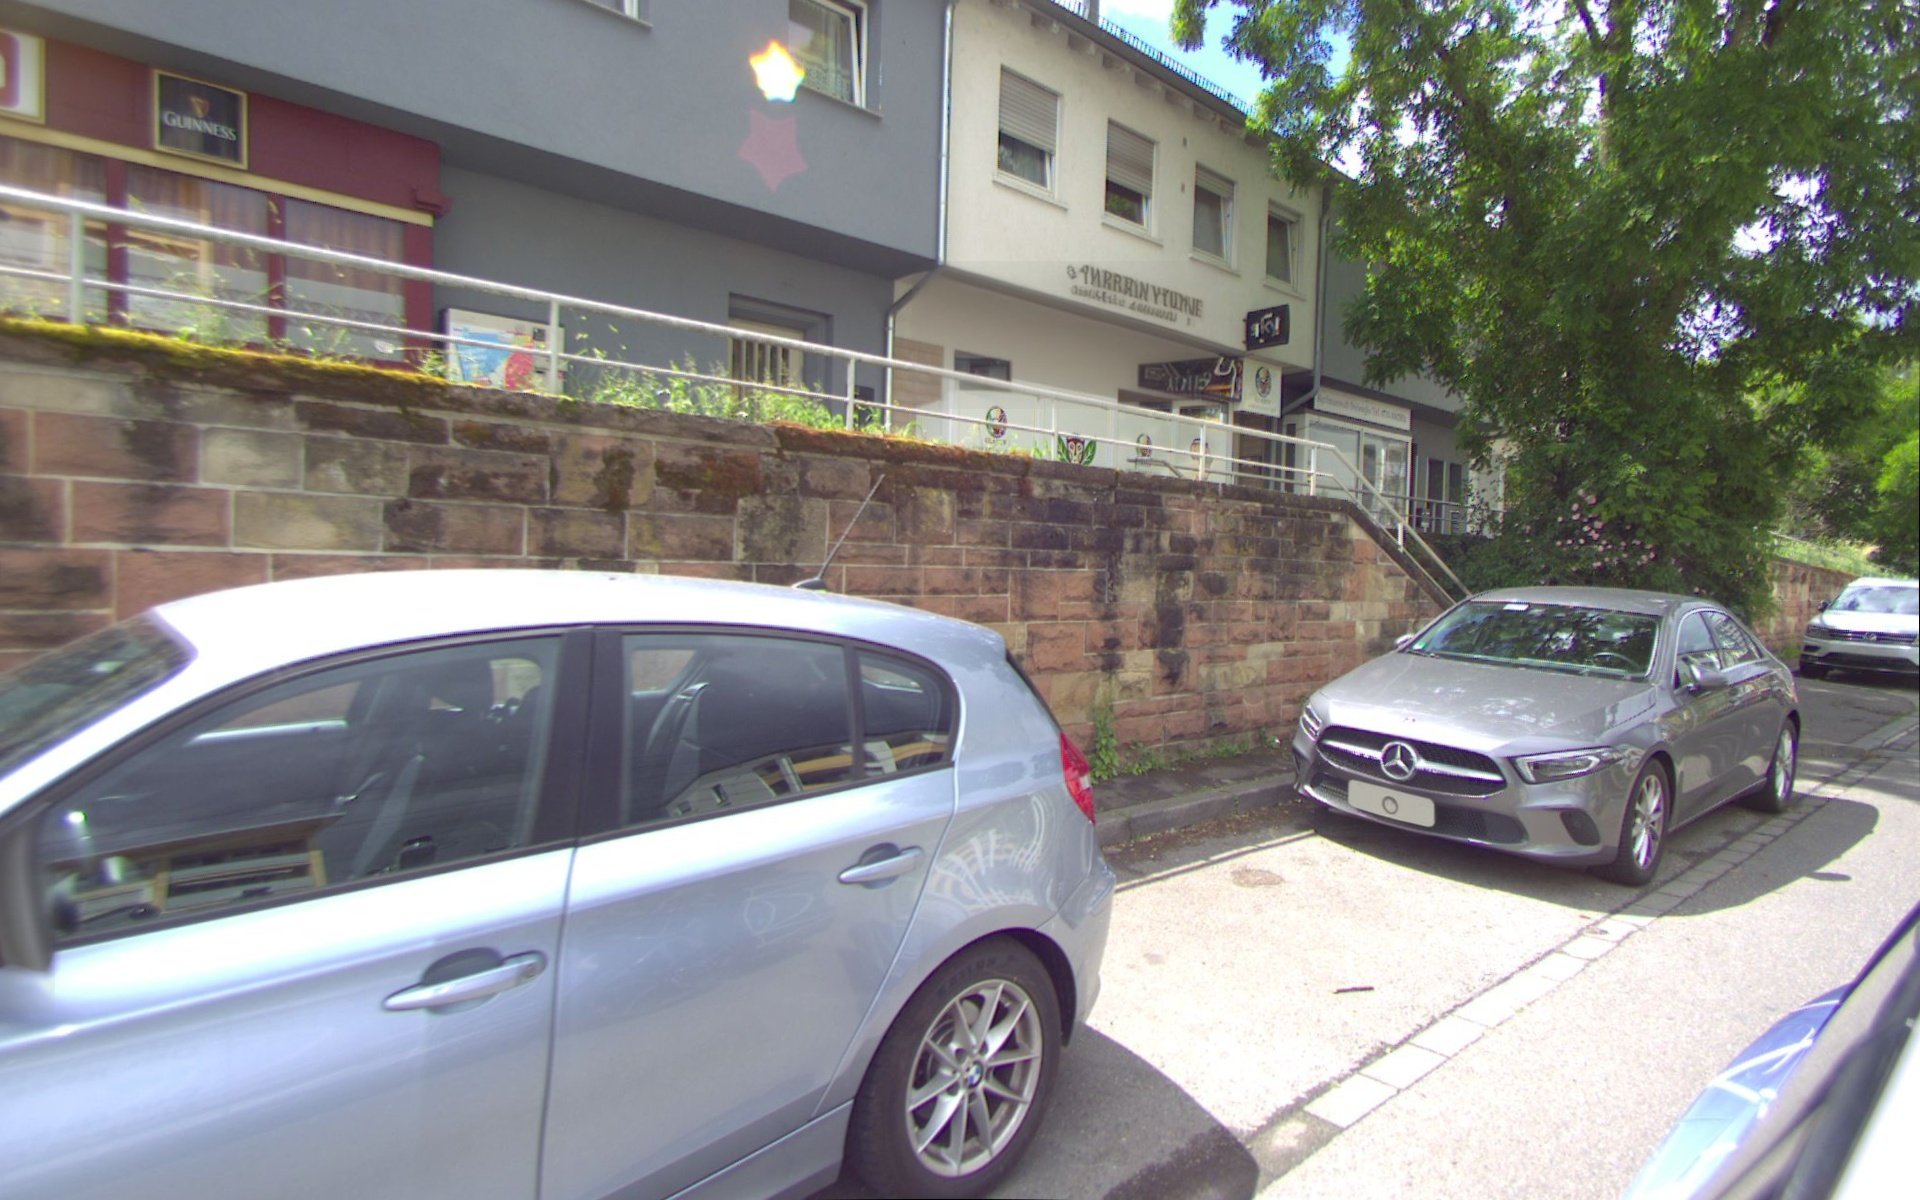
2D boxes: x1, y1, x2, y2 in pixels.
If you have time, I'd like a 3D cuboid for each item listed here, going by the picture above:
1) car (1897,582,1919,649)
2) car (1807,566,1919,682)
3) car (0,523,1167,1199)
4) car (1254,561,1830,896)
[{"bbox_3d":[22.787,0.346,22.867,4.073,1.446,1.785,-1,2,-39],"label":"car"},{"bbox_3d":[15.325,0.323,16.284,4.073,1.673,1.819,-1,3,-39],"label":"car"},{"bbox_3d":[-1.584,0.601,2.010,4.074,1.445,1.784,-1,5,-42],"label":"car"},{"bbox_3d":[3.825,0.513,6.363,4.073,1.446,1.785,-1,2,-39],"label":"car"}]
